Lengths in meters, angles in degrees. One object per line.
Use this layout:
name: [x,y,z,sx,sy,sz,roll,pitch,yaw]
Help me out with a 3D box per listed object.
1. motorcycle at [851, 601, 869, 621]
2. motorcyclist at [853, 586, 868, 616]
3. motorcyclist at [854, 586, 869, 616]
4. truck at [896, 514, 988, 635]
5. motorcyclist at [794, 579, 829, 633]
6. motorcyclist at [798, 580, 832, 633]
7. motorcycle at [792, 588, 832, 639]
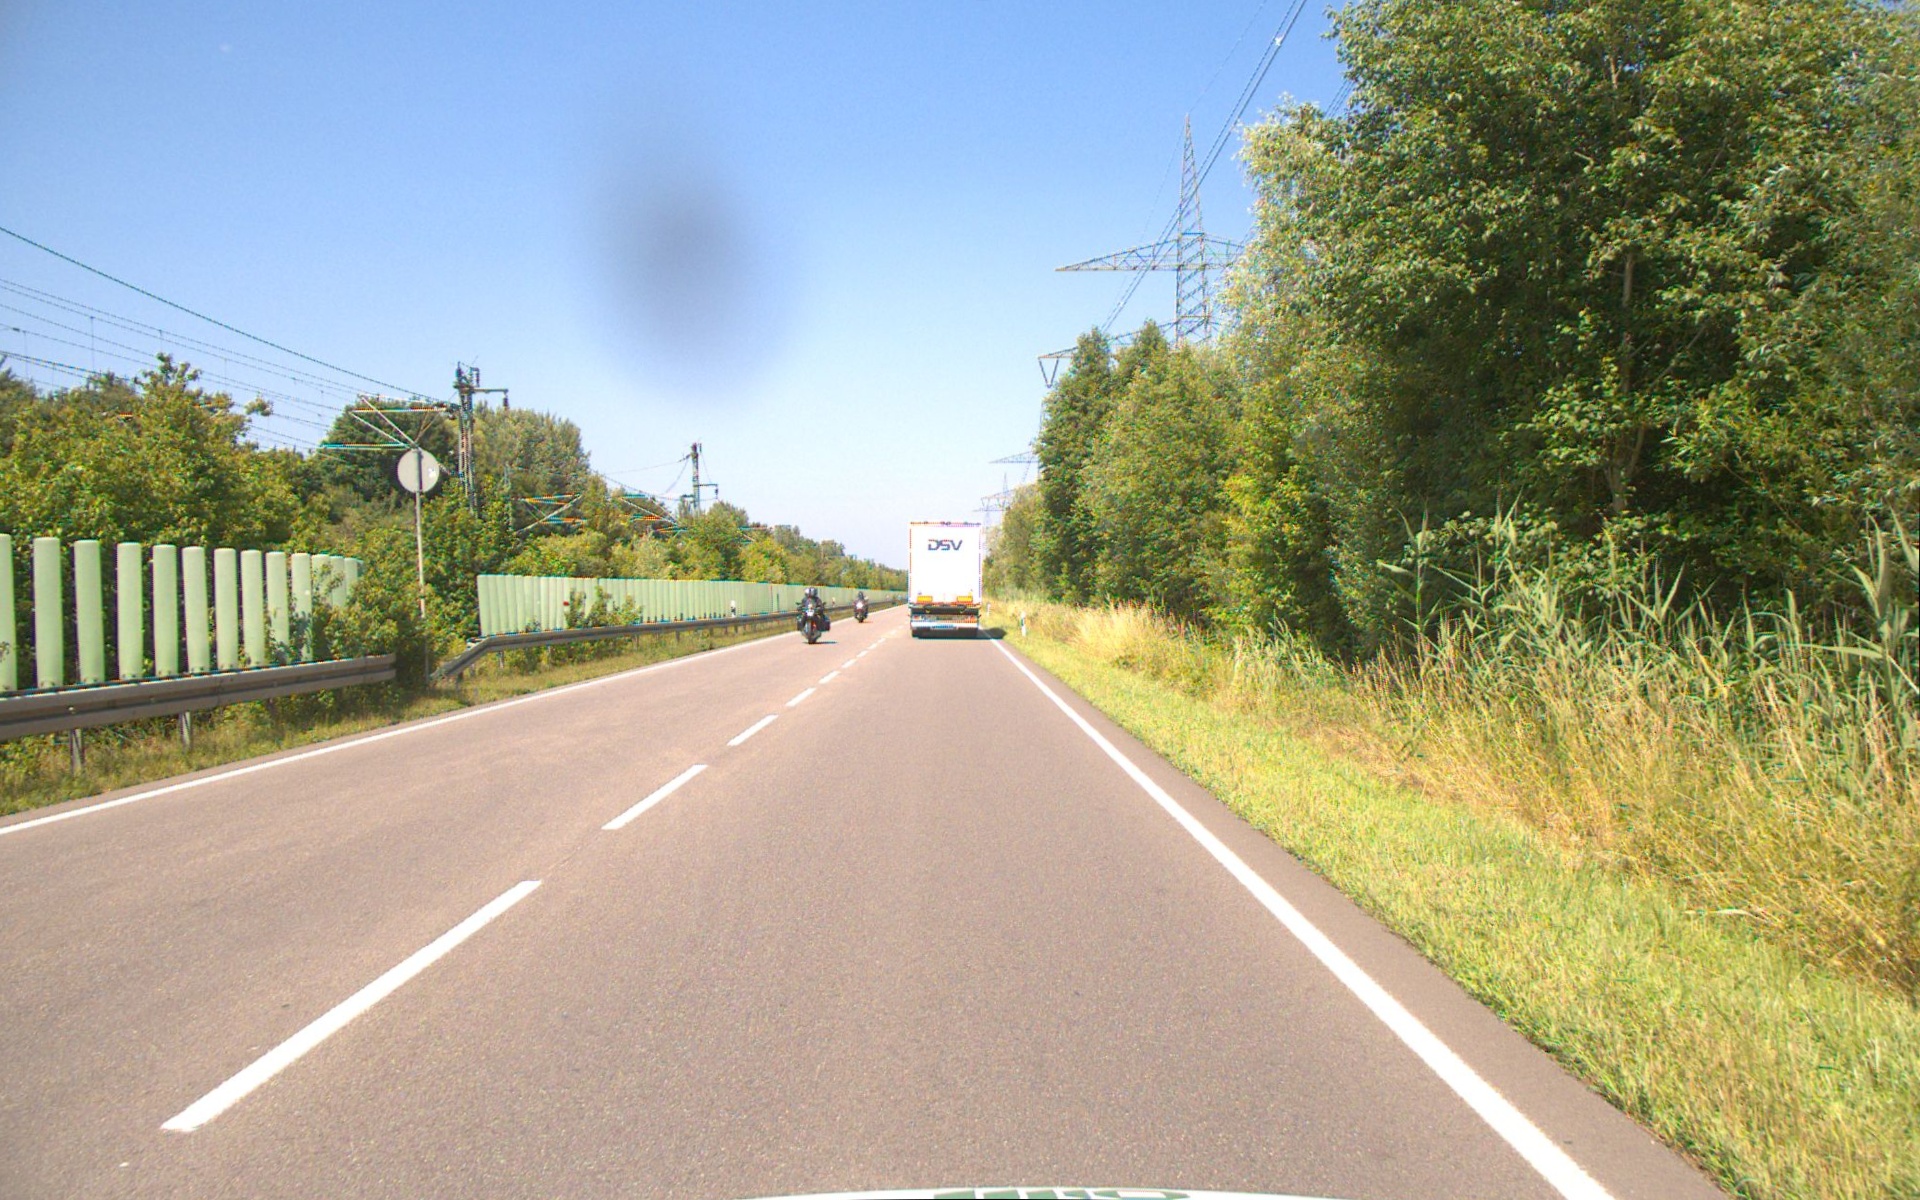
motorcycle: [-5.391,0.589,89.605,0.738,1.031,2.721,1,0,1]
motorcyclist: [-5.377,0.068,89.391,0.742,1.610,1.003,1,0,1]
motorcyclist: [-5.365,0.035,90.339,0.734,1.610,0.864,1,0,1]
truck: [-0.720,-0.891,62.448,3.127,4.113,12.004,0,0,-1]
motorcyclist: [-4.601,0.191,51.273,0.939,1.638,1.003,1,0,1]
motorcyclist: [-4.581,0.202,52.280,0.939,1.638,1.003,1,0,1]
motorcycle: [-4.600,0.420,51.602,0.948,1.522,2.630,1,0,1]
